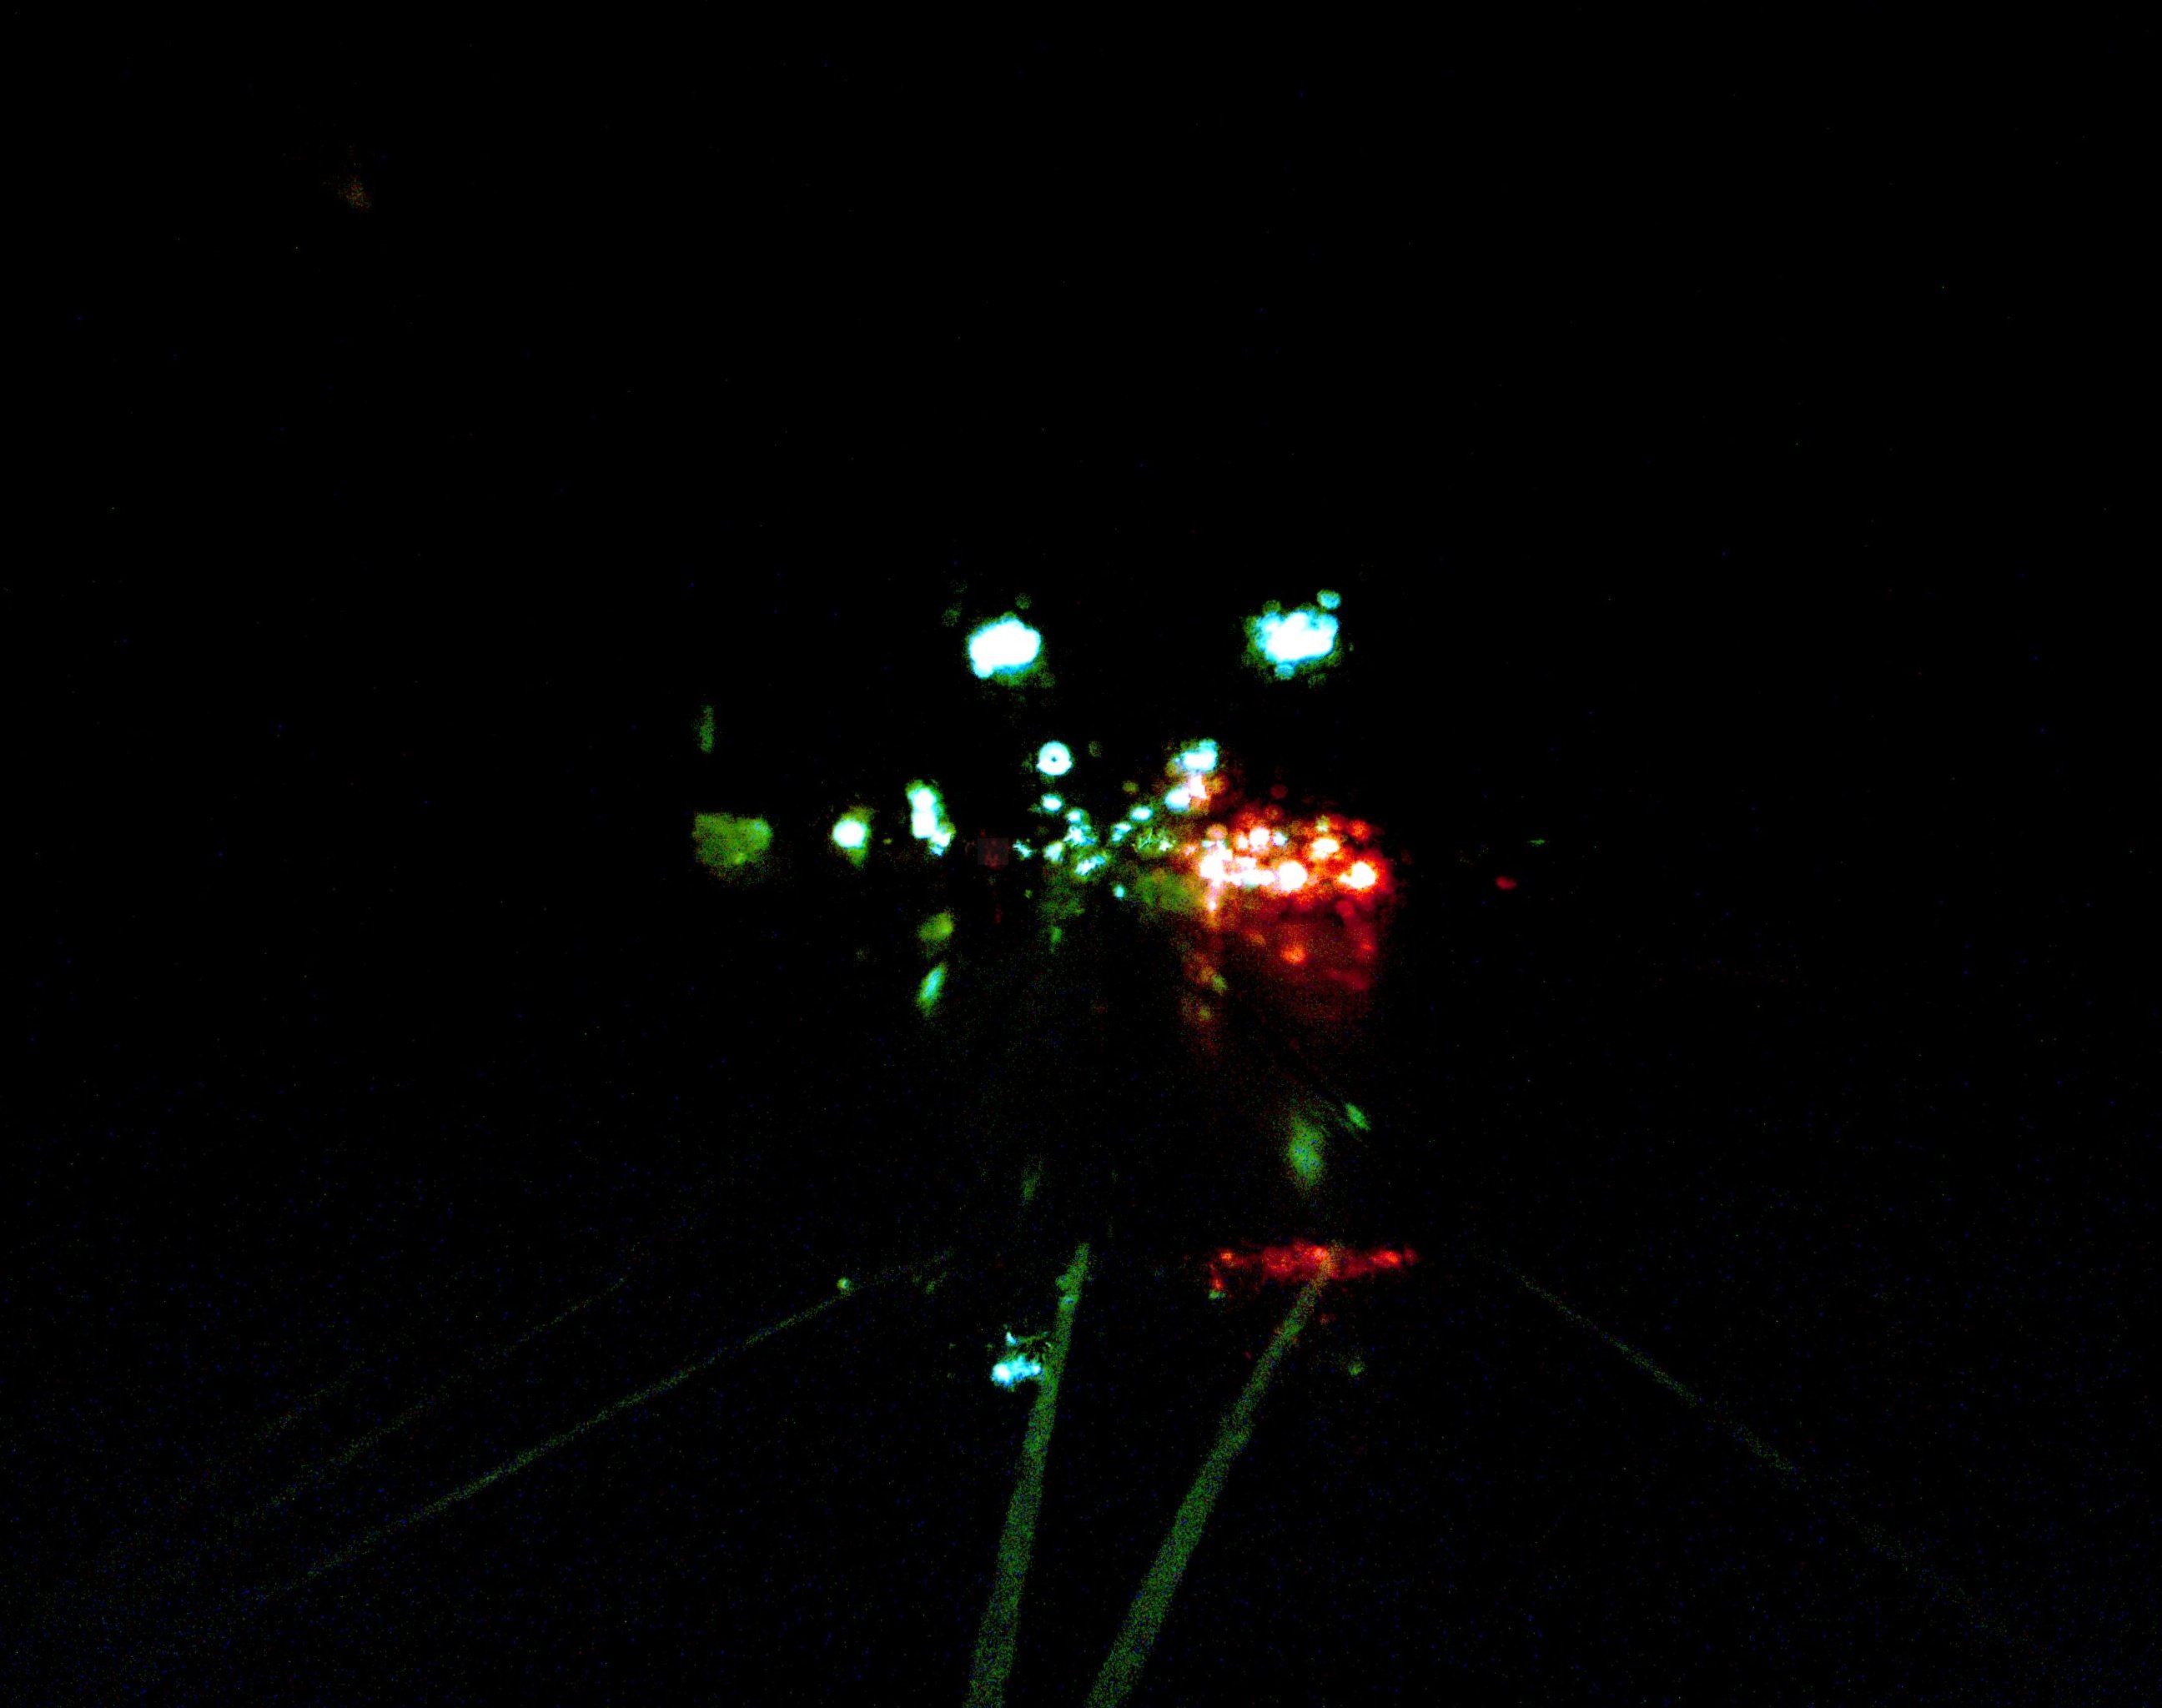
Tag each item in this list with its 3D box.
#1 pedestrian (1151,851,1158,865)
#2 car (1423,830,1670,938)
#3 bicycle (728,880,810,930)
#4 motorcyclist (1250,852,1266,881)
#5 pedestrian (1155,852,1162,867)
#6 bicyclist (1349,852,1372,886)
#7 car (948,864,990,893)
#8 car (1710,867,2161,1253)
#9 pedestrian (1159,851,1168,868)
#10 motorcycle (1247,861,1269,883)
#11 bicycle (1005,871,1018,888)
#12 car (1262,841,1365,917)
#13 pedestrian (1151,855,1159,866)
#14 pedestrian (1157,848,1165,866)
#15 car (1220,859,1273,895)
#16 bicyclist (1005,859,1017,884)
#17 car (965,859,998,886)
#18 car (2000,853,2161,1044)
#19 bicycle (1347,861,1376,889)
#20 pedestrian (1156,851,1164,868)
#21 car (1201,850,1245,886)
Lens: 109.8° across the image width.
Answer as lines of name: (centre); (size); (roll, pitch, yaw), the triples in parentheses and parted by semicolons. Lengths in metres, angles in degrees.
pedestrian: (8.485, 0.495, 87.635); (0.512, 1.539, 0.574); (-5, 2, -16)
car: (9.632, 0.577, 16.428); (1.998, 1.815, 5.309); (-5, -1, 1)
bicycle: (-7.706, 1.250, 18.787); (1.818, 1.157, 0.493); (1, 1, -1)
motorcyclist: (10.612, 0.754, 45.534); (0.709, 1.721, 1.028); (0, 1, -1)
pedestrian: (8.591, 0.575, 84.677); (0.400, 1.620, 0.531); (-5, 2, -42)
bicyclist: (12.445, 0.666, 33.845); (0.656, 1.457, 0.868); (-4, 1, 4)
car: (-6.039, 1.301, 41.402); (1.649, 1.433, 4.055); (2, 0, 0)
car: (5.057, 0.823, 3.069); (1.655, 1.470, 4.206); (0, 0, 2)
pedestrian: (8.610, 0.585, 79.326); (0.671, 1.764, 0.716); (-4, 1, -9)
motorcycle: (10.611, 1.078, 45.546); (0.709, 1.223, 2.325); (0, 1, -1)
bicycle: (-4.436, 1.626, 48.221); (0.572, 0.964, 1.779); (-4, 1, -11)
car: (6.269, 0.639, 21.034); (1.930, 1.868, 4.640); (0, 0, 7)
pedestrian: (8.403, 0.754, 86.054); (0.586, 1.246, 0.623); (-5, 2, -42)
pedestrian: (8.797, 0.348, 83.172); (0.609, 1.975, 0.858); (-4, 1, -2)
car: (7.191, 0.963, 33.306); (1.796, 1.456, 3.903); (-2, 0, 6)
bicyclist: (-4.464, 1.126, 48.210); (0.572, 1.539, 0.815); (-4, 1, -11)
car: (-6.061, 1.127, 46.632); (1.652, 1.516, 3.580); (2, 0, -2)
car: (9.343, 0.737, 4.891); (1.770, 1.398, 4.141); (-4, 0, -1)
bicycle: (12.462, 0.914, 33.850); (0.656, 1.135, 1.898); (-4, 1, 4)
pedestrian: (8.505, 0.558, 81.574); (0.716, 1.764, 0.671); (-4, 1, 4)
car: (7.833, 0.751, 42.370); (1.899, 1.858, 4.537); (-1, 1, 4)
